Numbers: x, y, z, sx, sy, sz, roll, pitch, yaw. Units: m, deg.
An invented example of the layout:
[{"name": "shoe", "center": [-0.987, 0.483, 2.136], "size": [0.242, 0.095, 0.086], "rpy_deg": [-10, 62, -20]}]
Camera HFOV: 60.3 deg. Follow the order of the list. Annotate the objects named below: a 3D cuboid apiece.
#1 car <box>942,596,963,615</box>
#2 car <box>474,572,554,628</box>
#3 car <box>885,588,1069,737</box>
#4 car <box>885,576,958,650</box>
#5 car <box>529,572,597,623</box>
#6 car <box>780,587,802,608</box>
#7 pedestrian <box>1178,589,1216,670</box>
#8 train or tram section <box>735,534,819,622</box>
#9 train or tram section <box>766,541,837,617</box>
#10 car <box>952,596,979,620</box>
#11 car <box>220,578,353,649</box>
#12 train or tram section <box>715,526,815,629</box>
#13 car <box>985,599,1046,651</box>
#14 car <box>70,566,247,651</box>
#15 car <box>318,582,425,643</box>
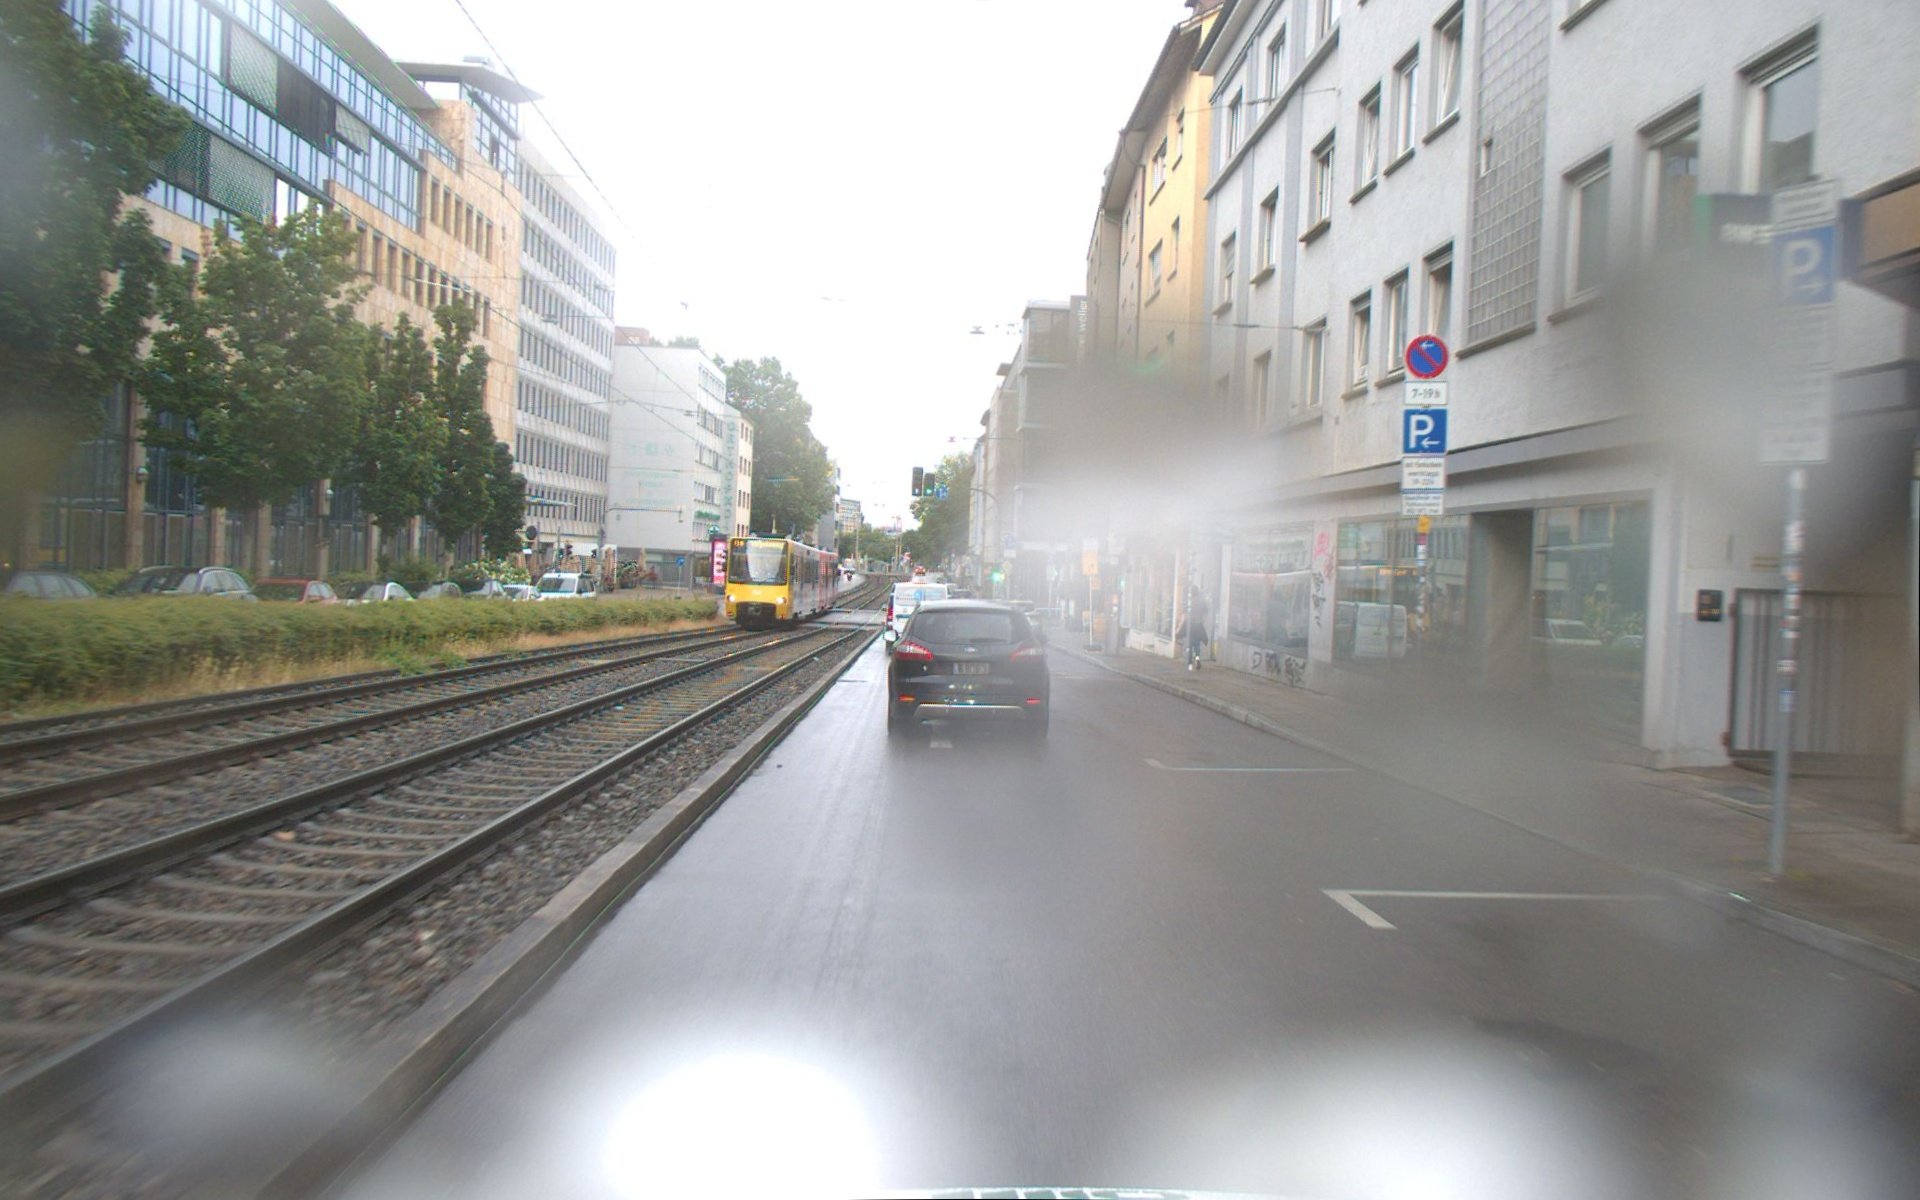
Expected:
[{"name": "car", "center": [-0.702, 0.483, 150.871], "size": [1.868, 1.662, 4.573], "rpy_deg": [2, -1, 0]}, {"name": "car", "center": [-15.910, 0.020, 59.195], "size": [1.869, 1.897, 4.569], "rpy_deg": [2, -1, -4]}, {"name": "car", "center": [0.153, 0.666, 18.893], "size": [1.868, 1.488, 3.444], "rpy_deg": [2, -1, -1]}, {"name": "car", "center": [-1.015, 0.373, 45.822], "size": [1.867, 1.897, 4.573], "rpy_deg": [2, -1, 0]}, {"name": "car", "center": [-15.767, -0.094, 65.952], "size": [1.869, 1.897, 4.569], "rpy_deg": [2, -1, -4]}, {"name": "car", "center": [-16.508, -0.213, 161.675], "size": [1.868, 1.897, 4.571], "rpy_deg": [2, -1, -2]}, {"name": "pedestrian", "center": [4.687, 0.577, 32.768], "size": [0.599, 1.564, 0.648], "rpy_deg": [1, 0, -2]}, {"name": "train or tram section", "center": [-8.684, -0.984, 79.711], "size": [3.468, 3.843, 11.322], "rpy_deg": [1, 0, -4]}, {"name": "train or tram section", "center": [-8.701, -1.097, 92.136], "size": [3.468, 3.843, 13.419], "rpy_deg": [1, 0, -4]}, {"name": "car", "center": [0.396, 0.599, 119.202], "size": [1.868, 1.662, 4.573], "rpy_deg": [2, -1, 0]}, {"name": "car", "center": [-15.101, 0.281, 37.293], "size": [1.537, 1.461, 4.174], "rpy_deg": [1, 0, -4]}, {"name": "train or tram section", "center": [-7.907, -0.868, 68.425], "size": [3.444, 3.843, 11.322], "rpy_deg": [1, 0, -4]}, {"name": "car", "center": [1.880, 0.860, 57.083], "size": [1.868, 1.662, 4.573], "rpy_deg": [2, -1, 0]}, {"name": "car", "center": [-15.002, 0.149, 31.188], "size": [1.537, 1.461, 4.174], "rpy_deg": [1, 0, -4]}, {"name": "car", "center": [-15.149, 0.306, 42.773], "size": [1.537, 1.461, 4.174], "rpy_deg": [1, 0, -4]}]
